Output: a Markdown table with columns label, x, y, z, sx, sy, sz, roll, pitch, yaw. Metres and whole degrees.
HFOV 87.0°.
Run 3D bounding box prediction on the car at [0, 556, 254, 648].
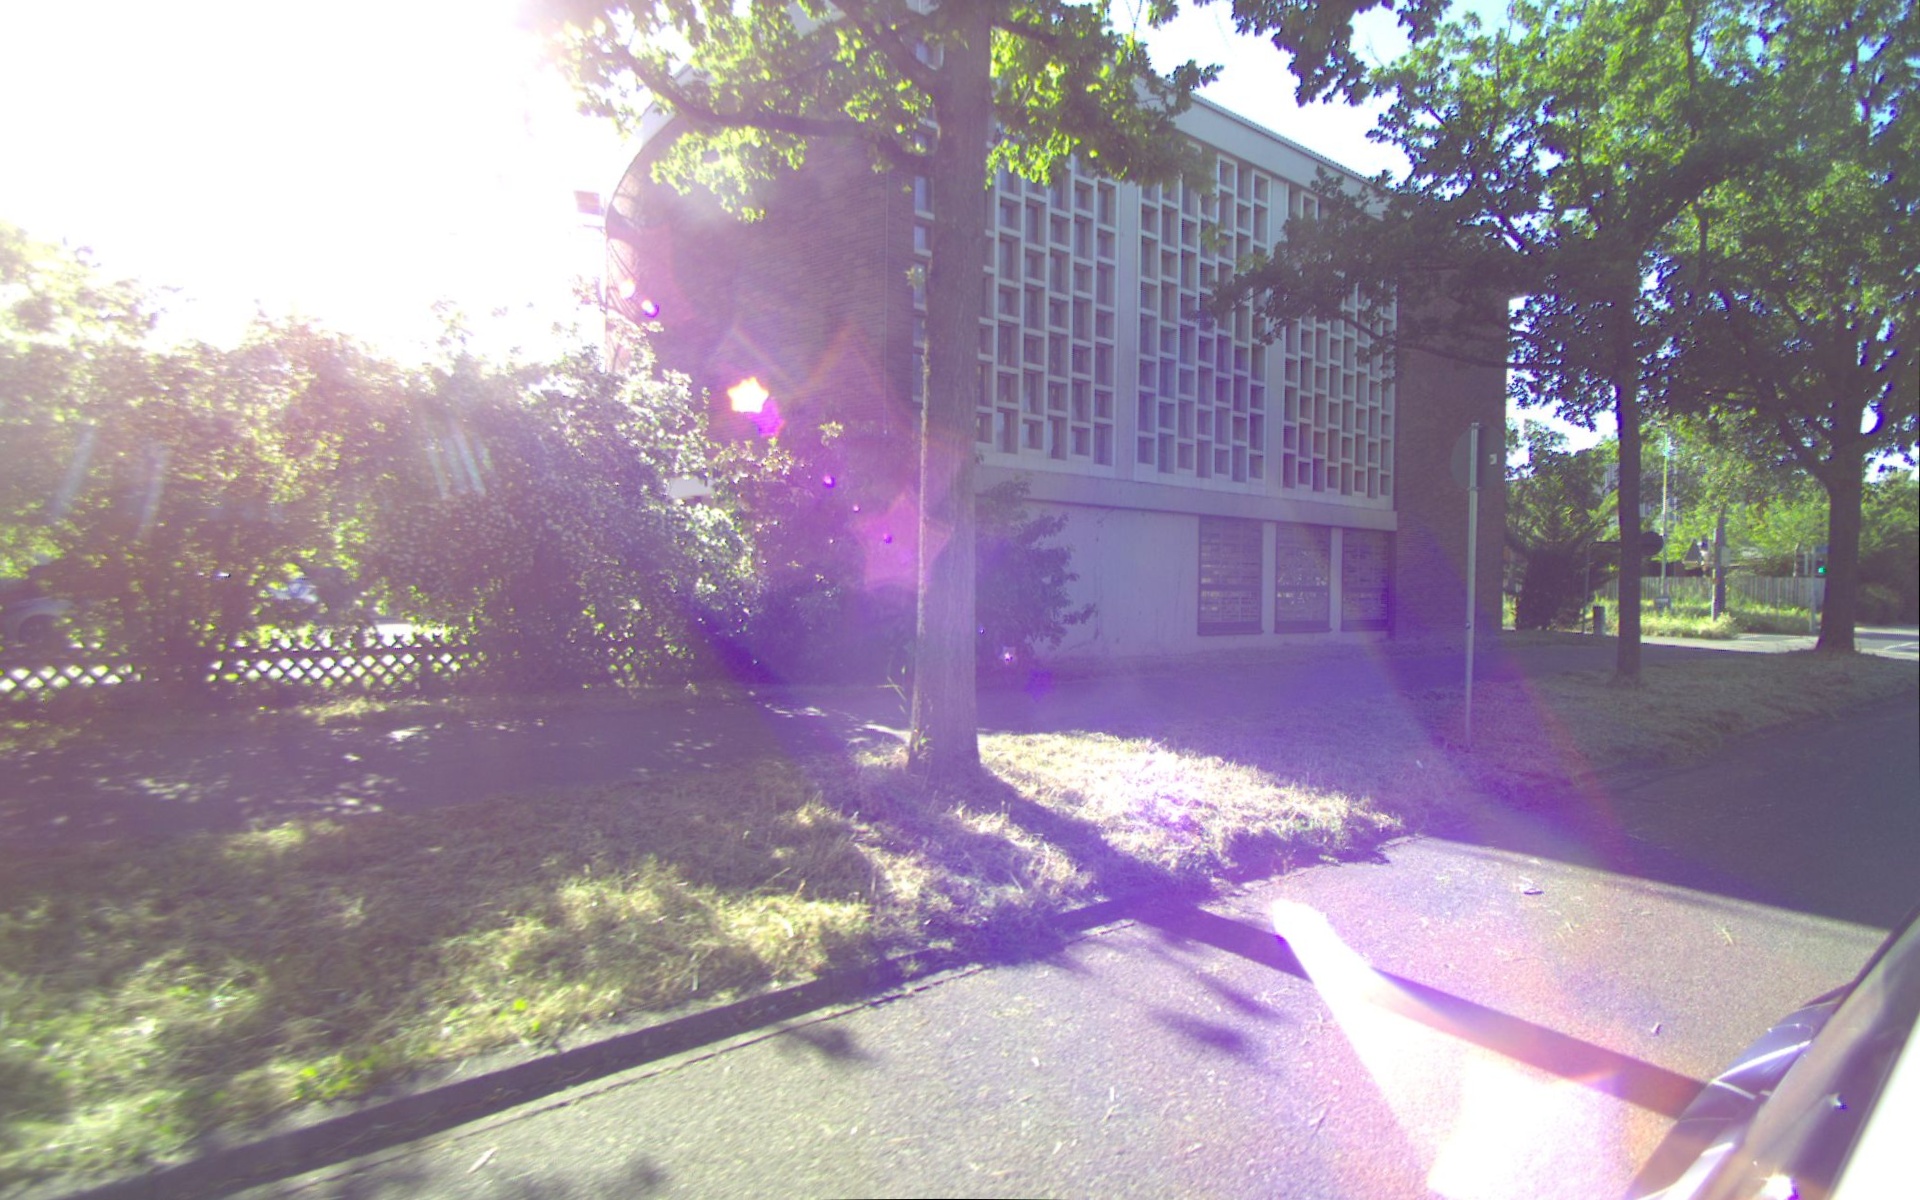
| label | x | y | z | sx | sy | sz | roll | pitch | yaw |
| --- | --- | --- | --- | --- | --- | --- | --- | --- | --- |
| car | -16.207 | -0.032 | 19.705 | 3.922 | 1.638 | 1.882 | -2 | 3 | -33 |

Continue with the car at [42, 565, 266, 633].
| label | x | y | z | sx | sy | sz | roll | pitch | yaw |
| --- | --- | --- | --- | --- | --- | --- | --- | --- | --- |
| car | -19.068 | -0.084 | 24.202 | 3.921 | 1.482 | 2.002 | -1 | 3 | -31 |
